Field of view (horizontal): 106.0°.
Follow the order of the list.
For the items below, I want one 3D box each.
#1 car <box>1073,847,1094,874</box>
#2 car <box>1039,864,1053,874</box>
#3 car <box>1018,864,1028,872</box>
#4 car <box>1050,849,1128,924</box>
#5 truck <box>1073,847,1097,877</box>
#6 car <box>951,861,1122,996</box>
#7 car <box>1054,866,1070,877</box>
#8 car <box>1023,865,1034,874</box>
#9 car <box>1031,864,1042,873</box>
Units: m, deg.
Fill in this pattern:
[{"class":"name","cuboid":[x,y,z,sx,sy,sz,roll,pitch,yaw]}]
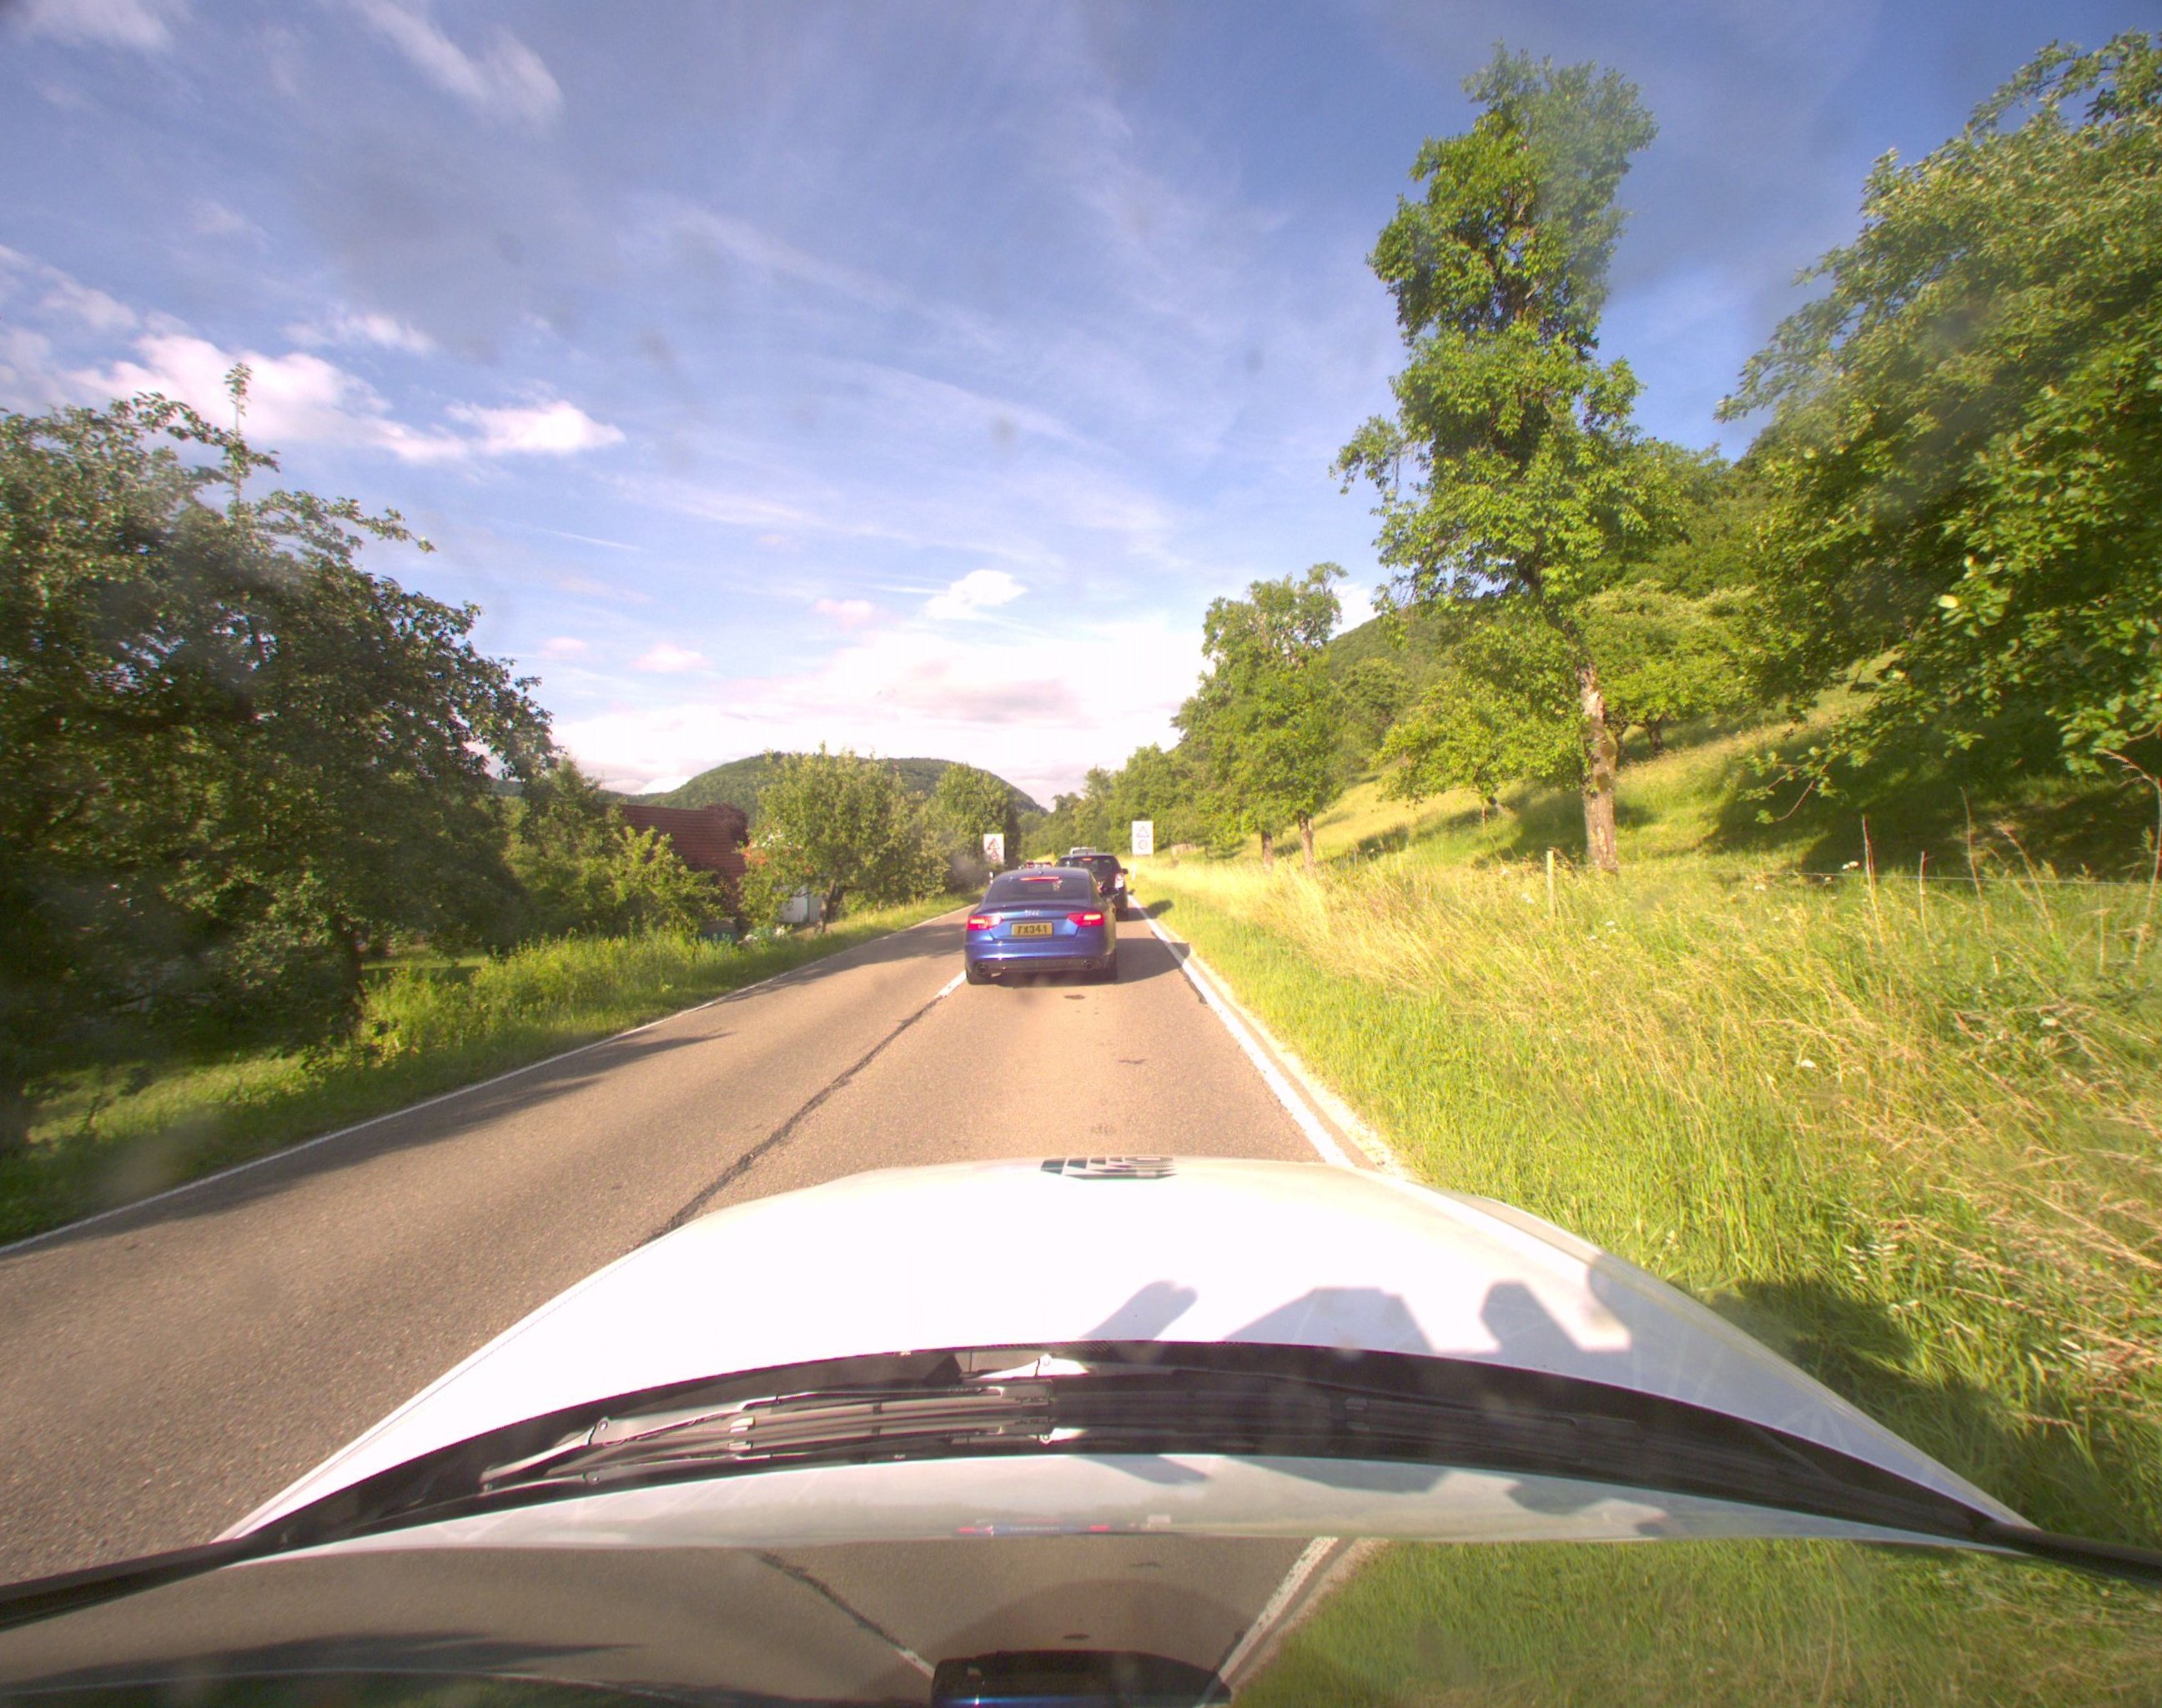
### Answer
[{"class":"car","cuboid":[0.224,0.587,77.211,1.787,2.453,3.916,1,0,-2]},{"class":"car","cuboid":[-5.706,2.435,133.166,1.748,1.496,3.766,1,0,-9]},{"class":"car","cuboid":[-11.500,2.826,161.462,1.559,1.496,3.763,1,0,-11]},{"class":"car","cuboid":[0.212,0.714,19.675,1.687,1.624,3.790,-1,0,1]},{"class":"truck","cuboid":[0.352,0.639,67.726,1.943,2.345,5.094,1,0,0]},{"class":"car","cuboid":[-0.423,0.825,10.908,1.799,1.382,4.216,-2,-1,1]},{"class":"car","cuboid":[-2.633,2.370,111.619,1.746,1.496,3.768,1,0,-7]},{"class":"car","cuboid":[-9.926,2.942,153.735,1.559,1.496,3.763,1,0,-11]},{"class":"car","cuboid":[-7.895,2.618,143.521,1.559,1.496,3.765,1,0,-10]}]
